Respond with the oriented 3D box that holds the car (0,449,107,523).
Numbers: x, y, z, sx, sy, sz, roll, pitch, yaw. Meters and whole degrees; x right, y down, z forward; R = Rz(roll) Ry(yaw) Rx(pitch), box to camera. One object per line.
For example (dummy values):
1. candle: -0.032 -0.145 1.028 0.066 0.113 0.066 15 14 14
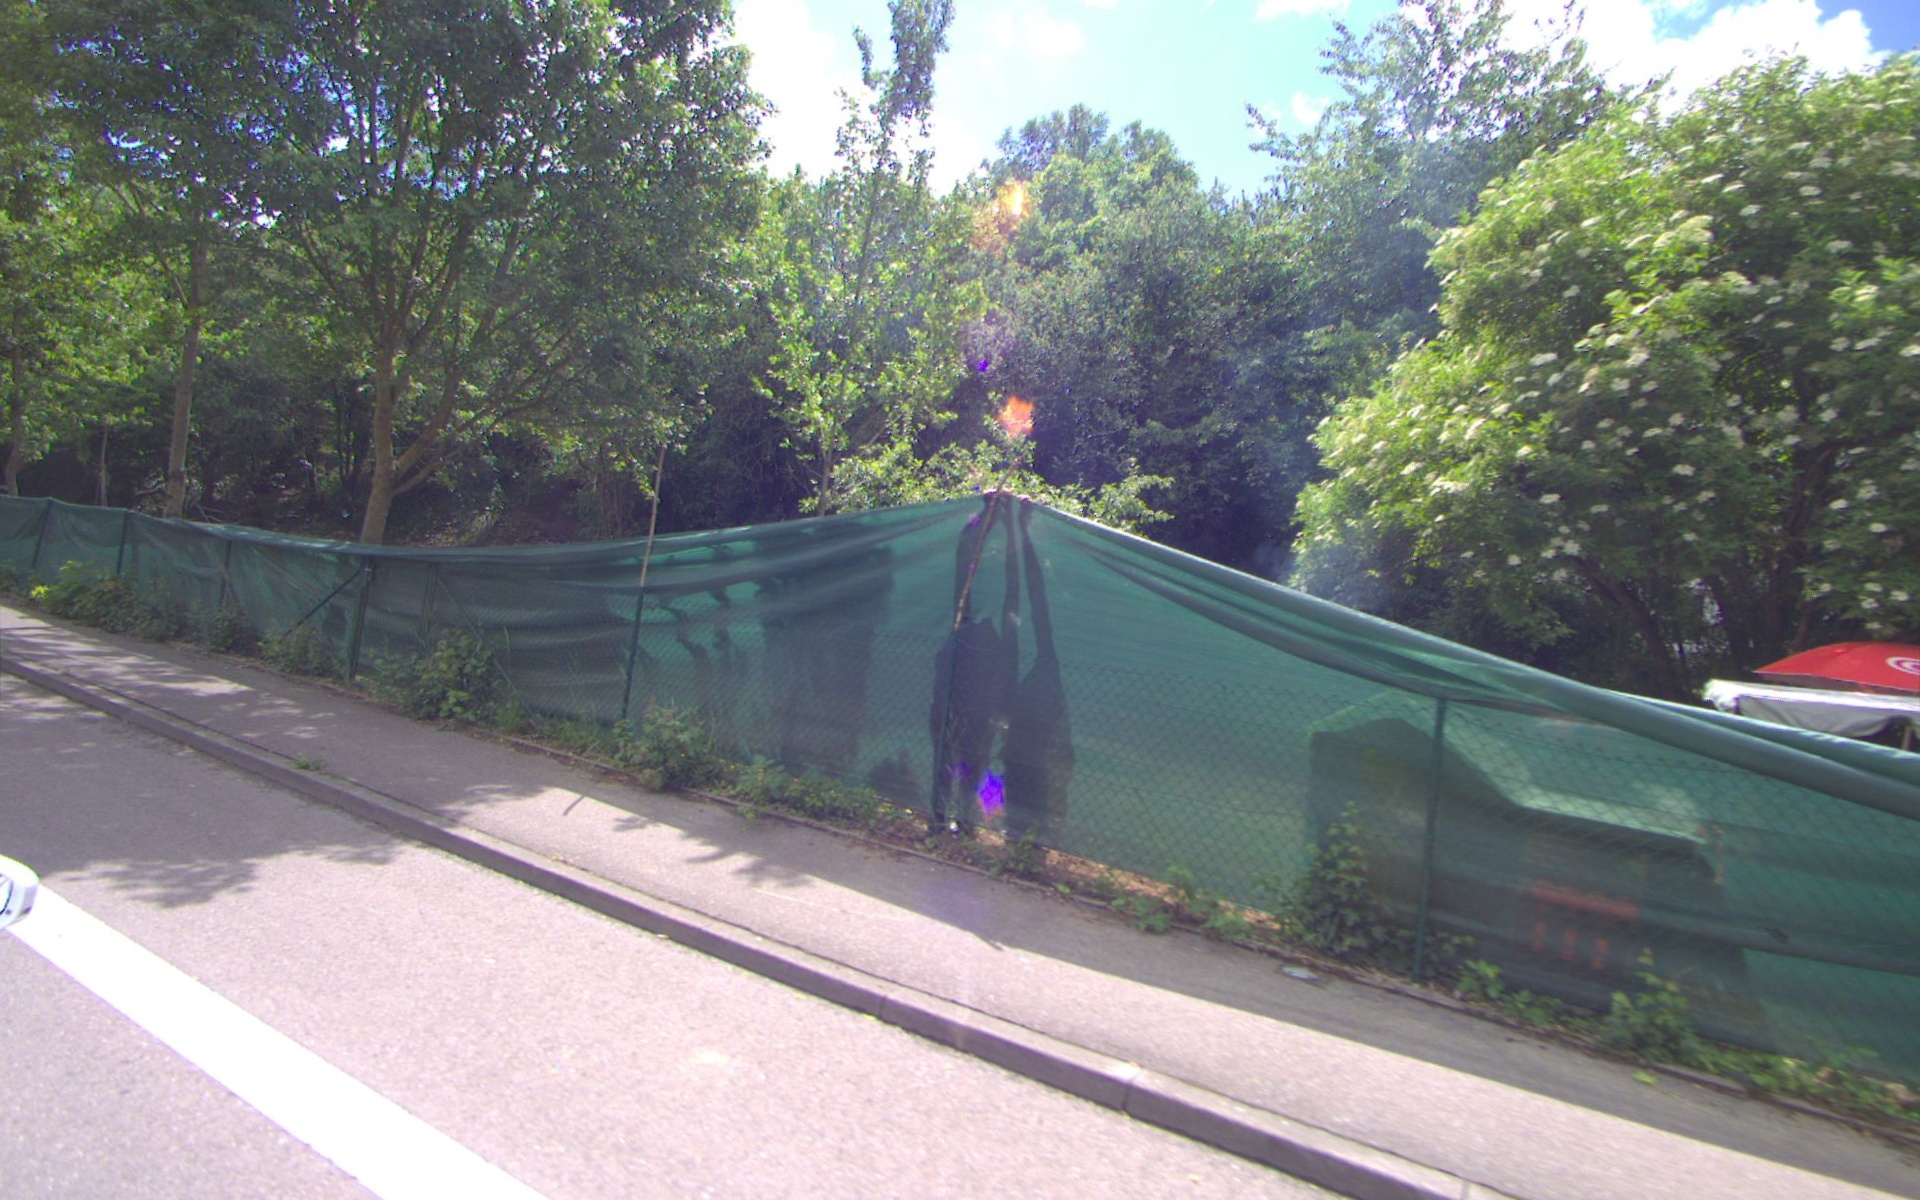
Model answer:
1. car: -25.729 -3.139 26.534 1.968 1.693 4.524 6 1 33
